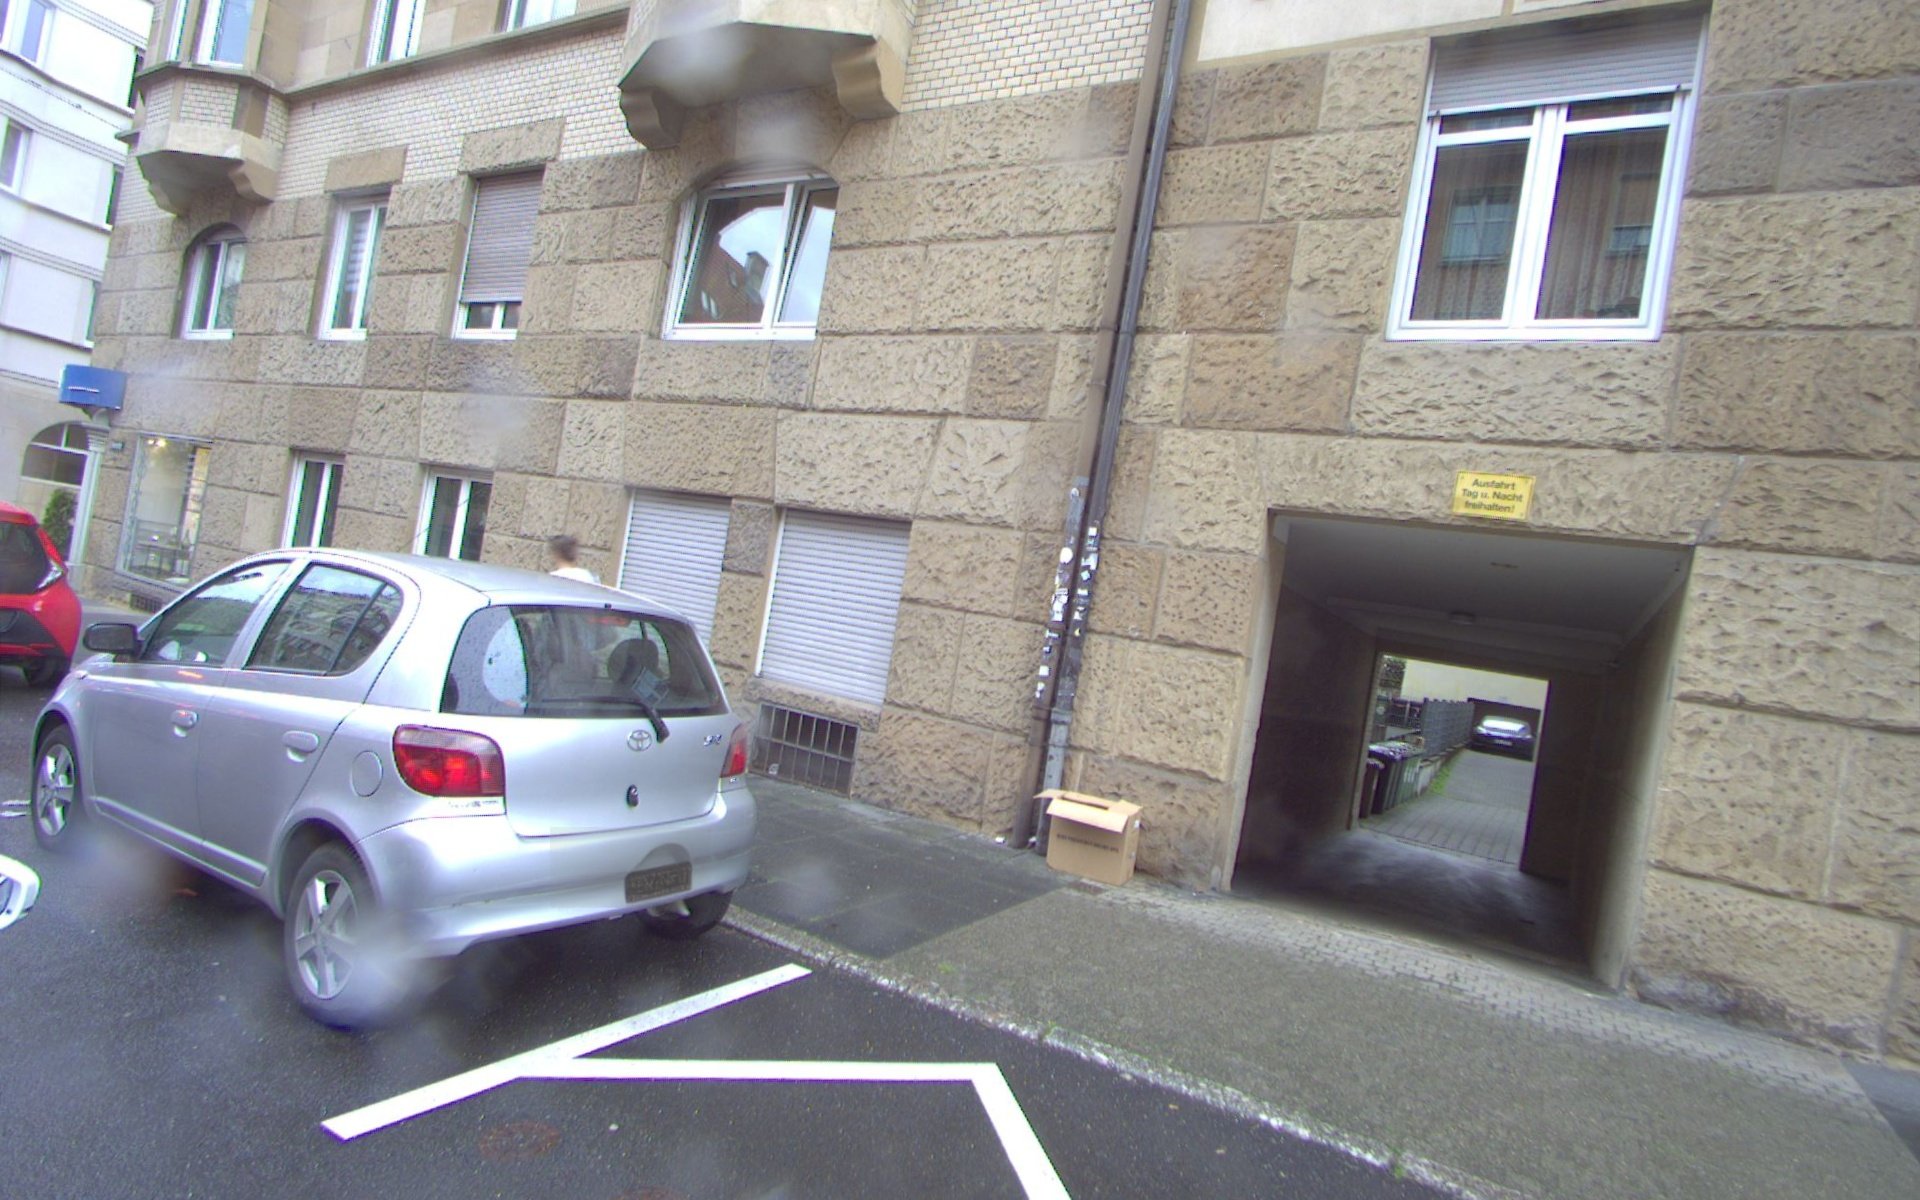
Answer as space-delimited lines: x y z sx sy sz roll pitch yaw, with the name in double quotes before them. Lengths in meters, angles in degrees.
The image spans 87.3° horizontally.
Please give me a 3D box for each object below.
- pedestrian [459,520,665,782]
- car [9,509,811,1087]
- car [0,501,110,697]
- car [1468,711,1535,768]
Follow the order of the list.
"pedestrian" -2.978 0.364 7.547 1.093 1.768 0.743 6 -1 32
"car" -2.493 0.547 4.411 3.258 1.485 1.616 7 0 33
"car" -8.743 -0.199 8.188 3.243 1.464 1.646 7 -2 29
"car" 18.332 4.673 33.956 1.693 1.538 4.102 7 -3 31
